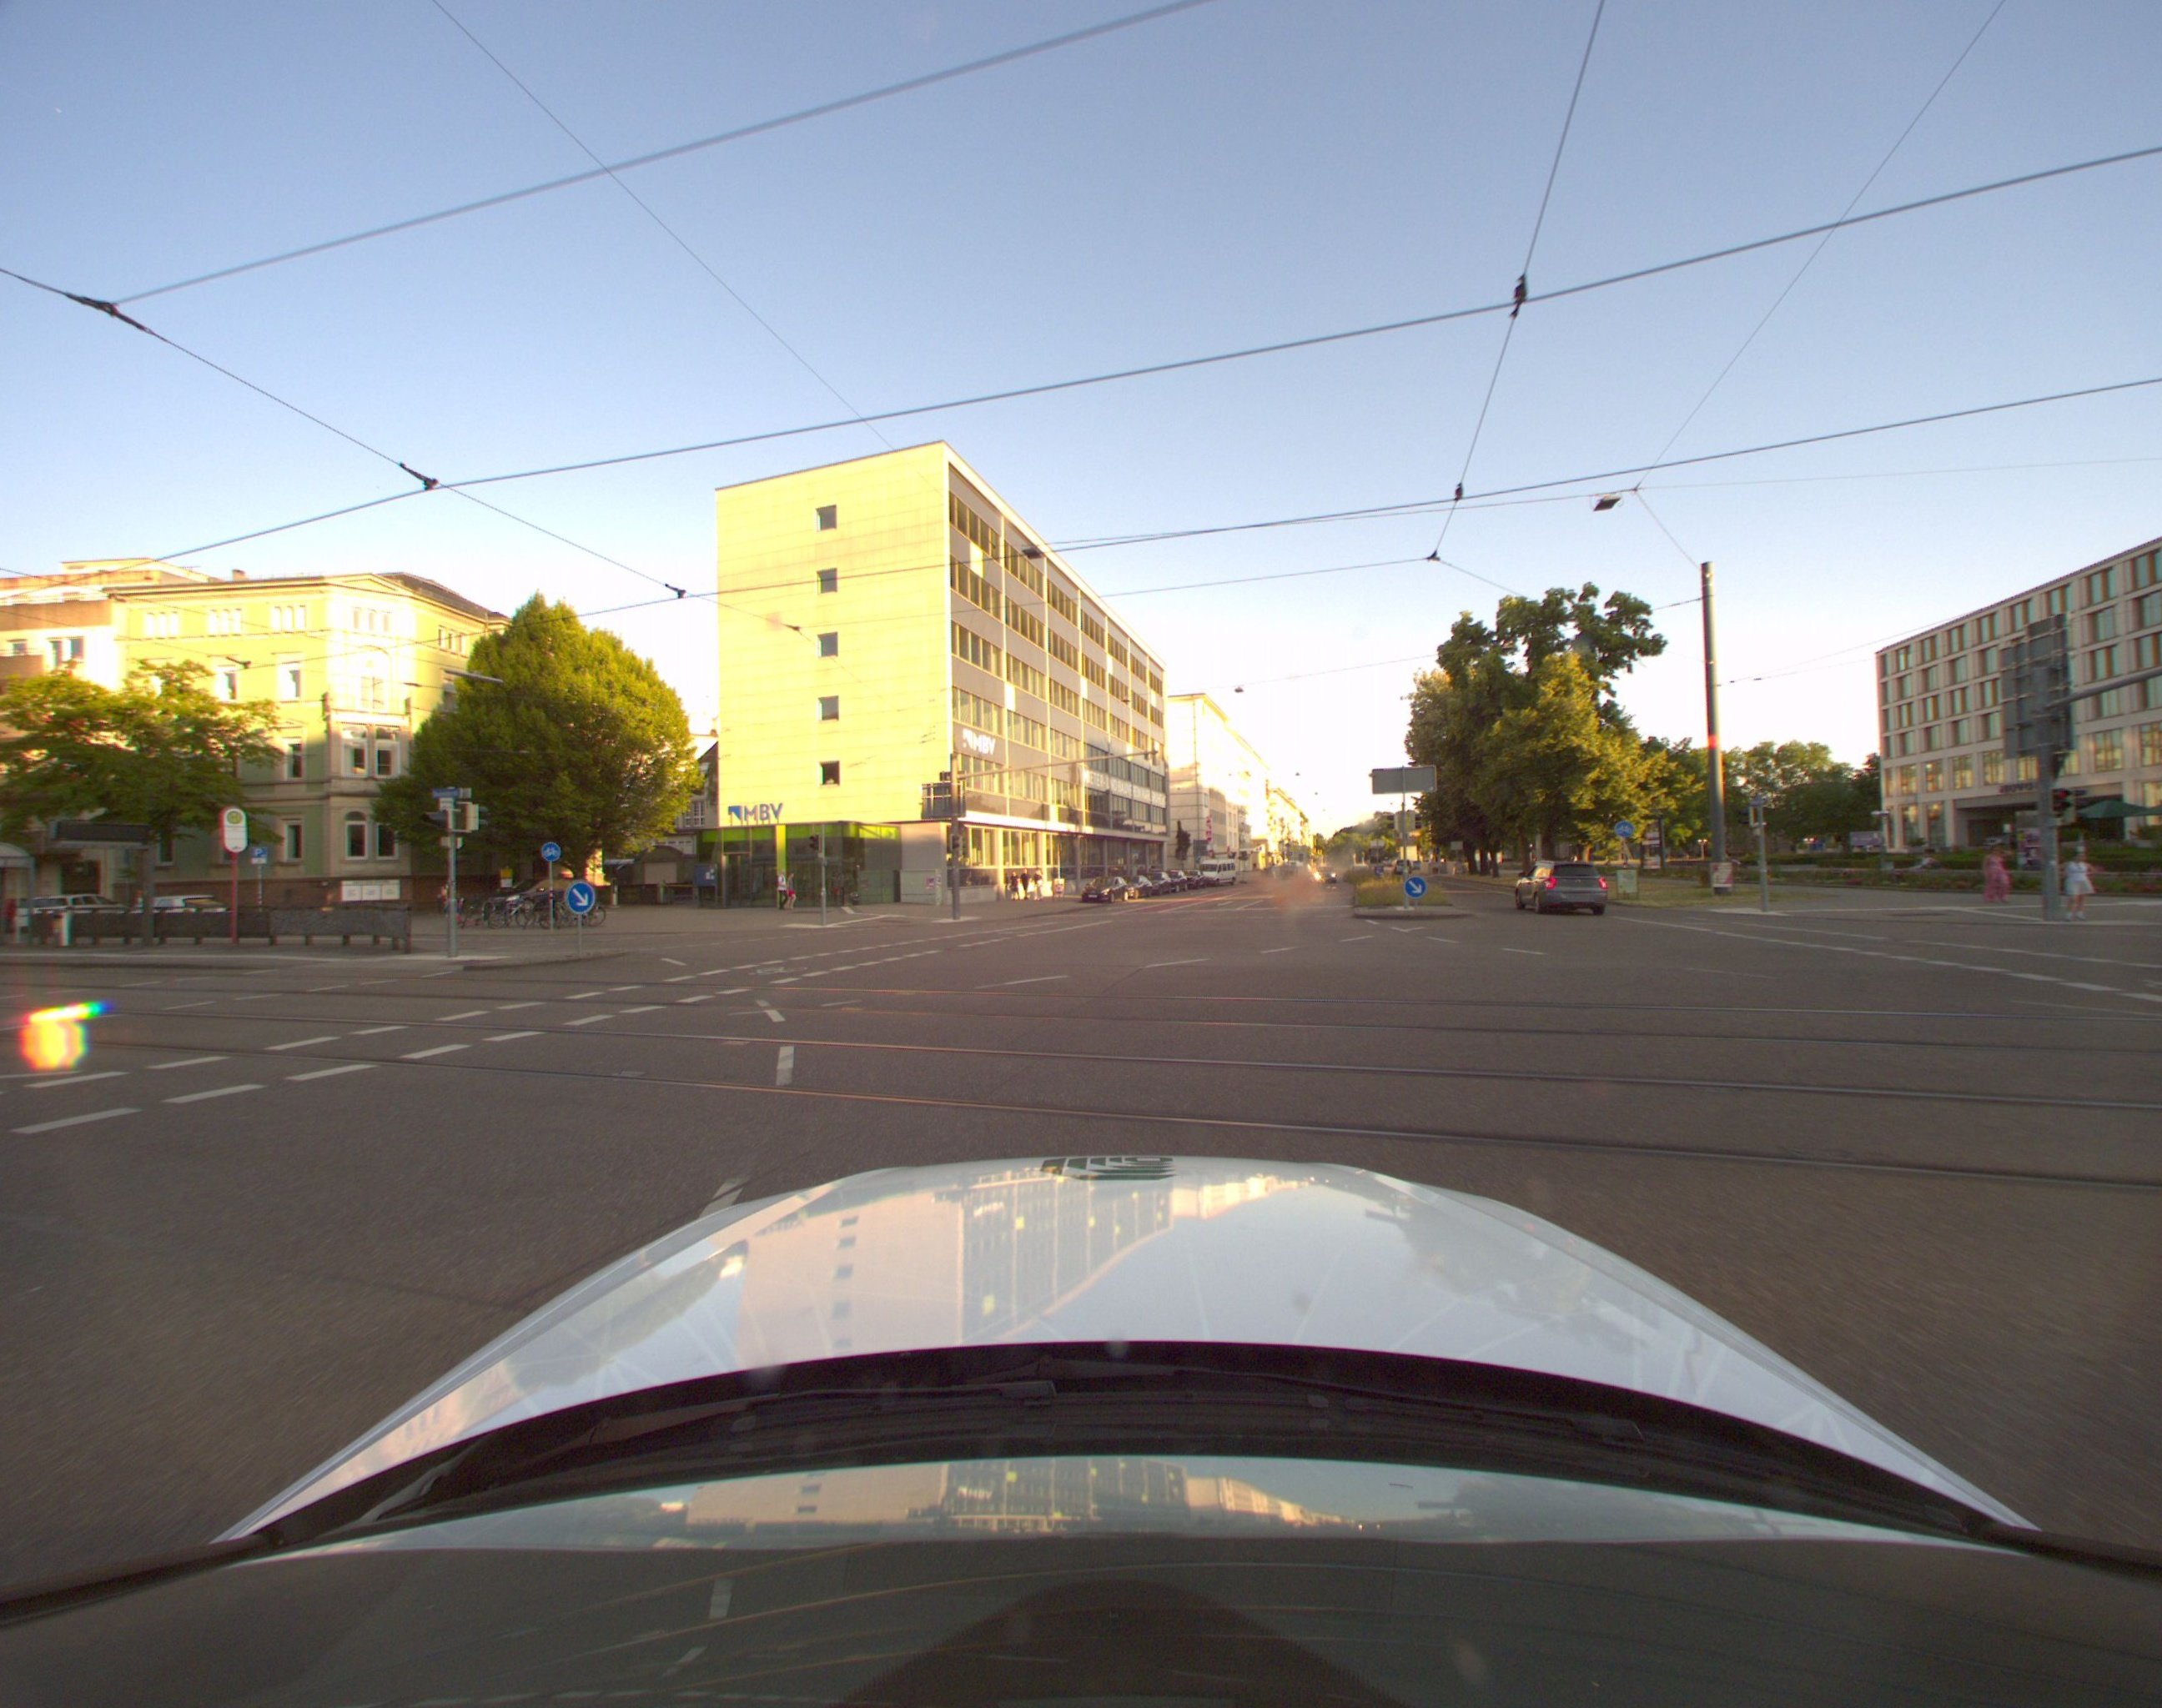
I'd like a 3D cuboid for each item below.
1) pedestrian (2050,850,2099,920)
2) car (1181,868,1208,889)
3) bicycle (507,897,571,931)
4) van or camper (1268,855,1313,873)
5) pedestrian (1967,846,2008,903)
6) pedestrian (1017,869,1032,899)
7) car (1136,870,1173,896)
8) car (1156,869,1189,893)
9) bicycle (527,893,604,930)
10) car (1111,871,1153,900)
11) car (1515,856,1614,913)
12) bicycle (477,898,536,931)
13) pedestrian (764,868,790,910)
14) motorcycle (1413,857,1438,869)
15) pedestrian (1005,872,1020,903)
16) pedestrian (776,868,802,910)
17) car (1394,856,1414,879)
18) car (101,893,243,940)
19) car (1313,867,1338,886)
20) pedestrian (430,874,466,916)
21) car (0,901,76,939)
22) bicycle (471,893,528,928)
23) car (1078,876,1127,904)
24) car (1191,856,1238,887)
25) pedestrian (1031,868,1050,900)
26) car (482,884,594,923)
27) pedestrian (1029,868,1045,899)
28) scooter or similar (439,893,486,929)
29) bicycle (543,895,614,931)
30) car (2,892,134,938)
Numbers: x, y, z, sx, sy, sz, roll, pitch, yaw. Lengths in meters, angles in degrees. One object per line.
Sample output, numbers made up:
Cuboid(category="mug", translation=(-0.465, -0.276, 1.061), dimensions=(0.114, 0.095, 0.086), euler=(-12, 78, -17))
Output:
Cuboid(category="pedestrian", translation=(23.589, 0.724, 19.345), dimensions=(0.530, 1.626, 0.631), euler=(-3, -2, 36))
Cuboid(category="car", translation=(9.475, 2.034, 67.980), dimensions=(1.487, 1.665, 3.886), euler=(2, 0, 19))
Cuboid(category="bicycle", translation=(-18.890, 2.082, 28.431), dimensions=(0.735, 1.075, 1.770), euler=(-2, -1, 21))
Cuboid(category="van or camper", translation=(29.286, 1.349, 113.799), dimensions=(5.511, 2.167, 2.236), euler=(-3, -2, -11))
Cuboid(category="pedestrian", translation=(26.521, 0.592, 23.831), dimensions=(0.742, 1.626, 0.718), euler=(0, -2, -39))
Cuboid(category="pedestrian", translation=(-3.331, 1.749, 47.668), dimensions=(0.648, 1.768, 0.648), euler=(-2, -1, 15))
Cuboid(category="car", translation=(5.222, 2.003, 57.185), dimensions=(1.679, 1.665, 3.886), euler=(2, 0, 18))
Cuboid(category="car", translation=(7.063, 2.015, 62.376), dimensions=(1.679, 1.665, 3.886), euler=(2, 0, 18))
Cuboid(category="bicycle", translation=(-17.942, 1.978, 28.416), dimensions=(0.735, 1.132, 2.249), euler=(-2, 0, 21))
Cuboid(category="car", translation=(3.327, 1.967, 52.131), dimensions=(1.679, 1.665, 3.886), euler=(2, 0, 18))
Cuboid(category="car", translation=(14.840, 0.900, 25.227), dimensions=(1.679, 1.605, 4.108), euler=(-2, -1, 17))
Cuboid(category="bicycle", translation=(-20.362, 2.130, 28.903), dimensions=(0.735, 1.075, 1.564), euler=(-2, -1, 21))
Cuboid(category="pedestrian", translation=(-12.803, 1.468, 34.331), dimensions=(0.727, 1.768, 0.712), euler=(-2, -2, 19))
Cuboid(category="motorcycle", translation=(53.128, 1.337, 125.660), dimensions=(3.457, 1.755, 0.930), euler=(-2, -1, 22))
Cuboid(category="pedestrian", translation=(-3.944, 1.922, 46.955), dimensions=(0.648, 1.768, 0.648), euler=(-2, -1, 15))
Cuboid(category="pedestrian", translation=(-12.533, 1.510, 34.997), dimensions=(0.738, 1.768, 0.712), euler=(-2, -2, 19))
Cuboid(category="car", translation=(34.180, 1.407, 86.221), dimensions=(1.868, 2.238, 3.930), euler=(-2, -1, 20))
Cuboid(category="car", translation=(-35.731, 2.440, 32.054), dimensions=(3.965, 1.552, 1.689), euler=(-2, 2, 7))
Cuboid(category="car", translation=(20.782, 1.904, 69.167), dimensions=(1.678, 1.421, 4.194), euler=(-2, -1, 20))
Cuboid(category="pedestrian", translation=(-27.396, 1.785, 35.257), dimensions=(0.982, 1.768, 0.709), euler=(-2, -1, 3))
Cuboid(category="car", translation=(-44.860, 2.767, 34.142), dimensions=(1.647, 1.454, 4.176), euler=(-1, -2, -24))
Cuboid(category="bicycle", translation=(-21.229, 2.056, 29.752), dimensions=(0.735, 1.163, 1.539), euler=(-2, -1, 20))
Cuboid(category="car", translation=(1.288, 2.014, 46.511), dimensions=(1.679, 1.411, 3.886), euler=(2, 0, 18))
Cuboid(category="car", translation=(12.214, 1.583, 74.118), dimensions=(2.216, 2.629, 5.889), euler=(2, 0, 29))
Cuboid(category="pedestrian", translation=(-2.318, 1.700, 46.649), dimensions=(0.834, 1.768, 0.789), euler=(-2, -1, 15))
Cuboid(category="car", translation=(-24.814, 2.216, 37.363), dimensions=(1.783, 1.574, 4.016), euler=(-2, -1, 18))
Cuboid(category="pedestrian", translation=(-2.574, 1.701, 47.584), dimensions=(0.733, 1.768, 0.675), euler=(-2, -2, 15))
Cuboid(category="scooter or similar", translation=(-22.718, 2.080, 29.944), dimensions=(0.584, 1.225, 1.210), euler=(-2, 0, 19))
Cuboid(category="bicycle", translation=(-17.096, 1.987, 27.744), dimensions=(0.734, 1.074, 1.878), euler=(-2, -1, 36))
Cuboid(category="car", translation=(-42.090, 2.471, 33.979), dimensions=(1.725, 1.725, 4.174), euler=(1, -2, -25))
